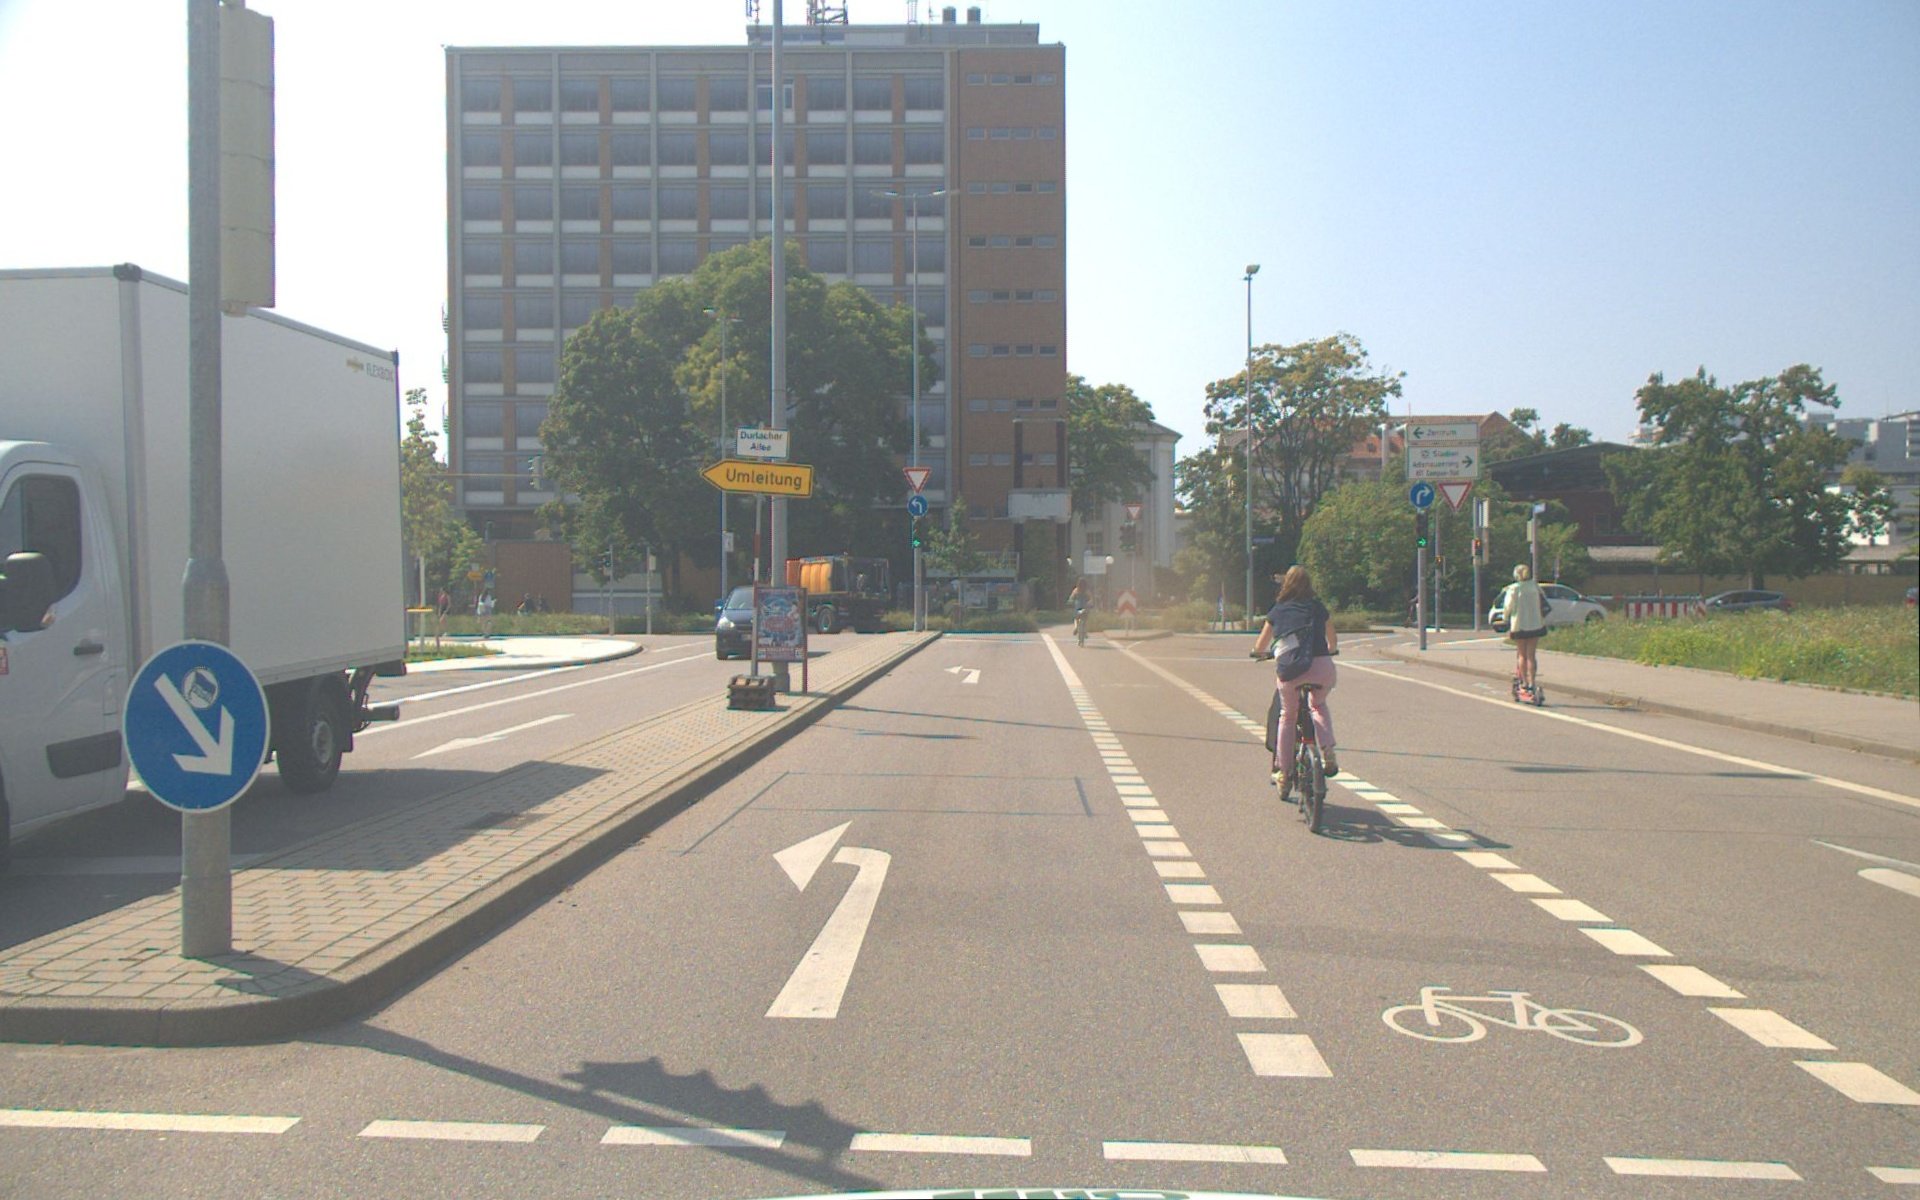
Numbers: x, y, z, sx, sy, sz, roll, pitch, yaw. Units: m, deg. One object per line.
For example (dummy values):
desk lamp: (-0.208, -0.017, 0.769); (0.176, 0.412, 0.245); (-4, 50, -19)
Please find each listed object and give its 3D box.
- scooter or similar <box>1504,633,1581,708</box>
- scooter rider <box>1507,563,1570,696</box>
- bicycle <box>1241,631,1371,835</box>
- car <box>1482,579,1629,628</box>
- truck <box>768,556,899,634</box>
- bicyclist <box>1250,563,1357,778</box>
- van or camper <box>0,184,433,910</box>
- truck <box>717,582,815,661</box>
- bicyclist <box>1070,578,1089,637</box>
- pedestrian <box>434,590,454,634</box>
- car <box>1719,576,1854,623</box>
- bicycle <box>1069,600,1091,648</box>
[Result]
scooter or similar: (7.960, 0.942, 22.657); (0.755, 0.943, 1.622); (0, 0, 10)
scooter rider: (7.977, 0.403, 22.825); (0.745, 1.806, 0.555); (0, 0, 11)
bicycle: (2.247, 0.823, 10.915); (0.591, 1.183, 1.811); (0, 0, 4)
car: (18.288, 0.090, 50.847); (3.921, 1.416, 1.841); (-1, 0, -16)
truck: (-5.274, -0.191, 68.346); (2.677, 3.042, 5.886); (0, 0, -37)
bicyclist: (2.232, 0.444, 10.804); (0.590, 1.358, 0.660); (0, 0, 4)
van or camper: (-5.595, -0.256, 10.080); (2.350, 3.364, 7.191); (-1, 0, 1)
truck: (-3.970, 0.411, 34.308); (1.523, 1.530, 3.621); (-1, 0, 1)
bicyclist: (2.973, 0.190, 41.149); (0.440, 1.446, 0.496); (-1, 0, 0)
pedestrian: (-18.445, 0.422, 59.089); (0.527, 1.579, 0.410); (-1, 0, -44)
car: (29.318, -0.029, 58.752); (3.903, 1.592, 1.824); (-1, 0, 4)
bicycle: (2.977, 0.581, 41.011); (0.435, 1.136, 1.446); (-1, 0, 1)
